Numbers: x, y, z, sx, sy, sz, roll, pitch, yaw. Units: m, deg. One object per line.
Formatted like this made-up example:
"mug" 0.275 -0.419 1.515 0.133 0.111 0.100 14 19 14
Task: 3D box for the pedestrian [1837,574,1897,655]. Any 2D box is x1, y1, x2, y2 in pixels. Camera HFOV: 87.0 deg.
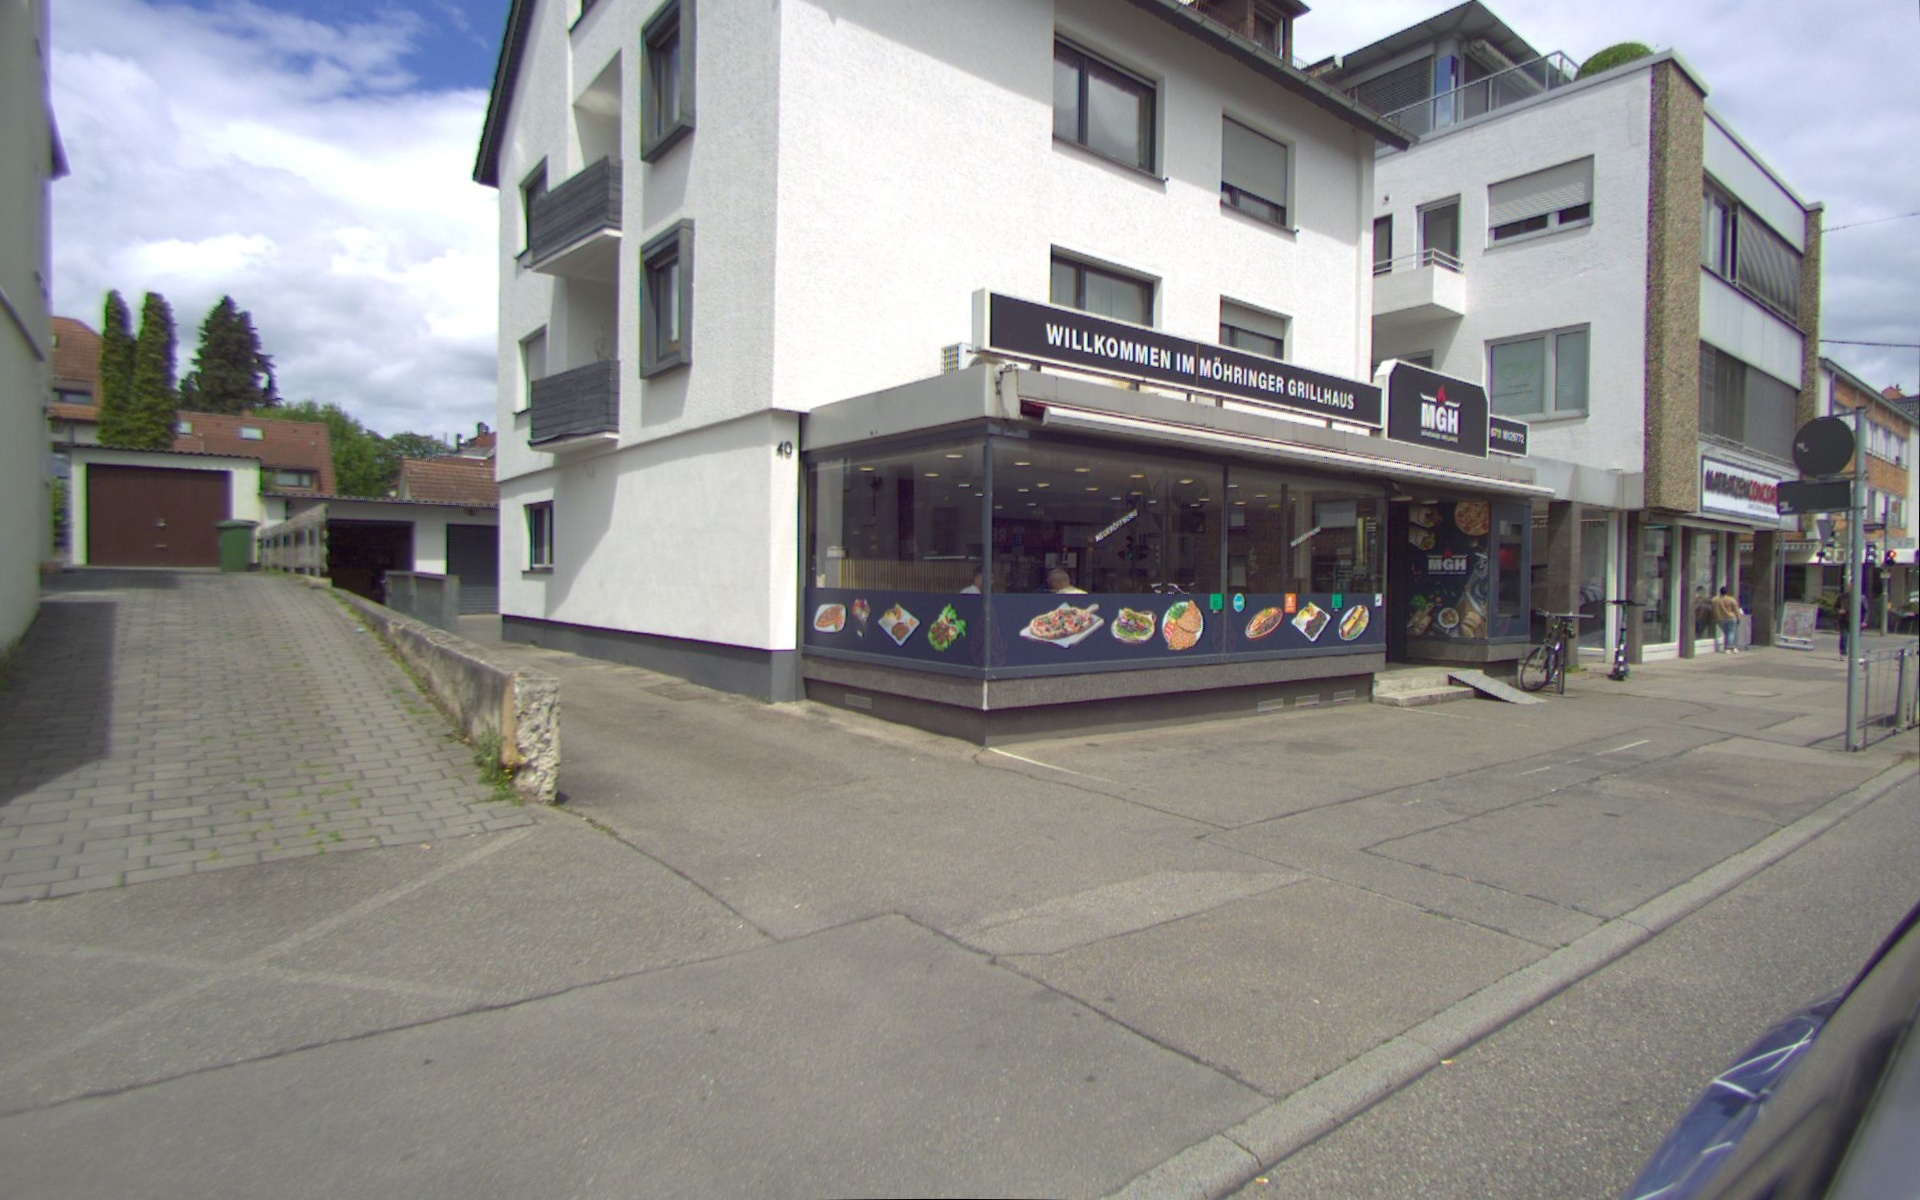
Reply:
"pedestrian" 19.529 0.300 21.794 0.792 1.691 0.797 0 2 -39

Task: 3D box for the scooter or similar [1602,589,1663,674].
"scooter or similar" 10.949 0.485 16.467 0.686 1.283 1.169 2 2 39

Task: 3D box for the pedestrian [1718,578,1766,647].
"pedestrian" 17.532 0.267 22.695 0.707 1.517 0.681 0 1 -39

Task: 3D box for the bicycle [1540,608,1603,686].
"bicycle" 8.915 0.656 14.737 0.474 1.040 1.611 2 2 42

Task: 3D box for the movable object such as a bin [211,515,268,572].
"movable object such as a bin" -14.520 -1.126 20.385 0.848 1.093 1.280 0 2 -40
